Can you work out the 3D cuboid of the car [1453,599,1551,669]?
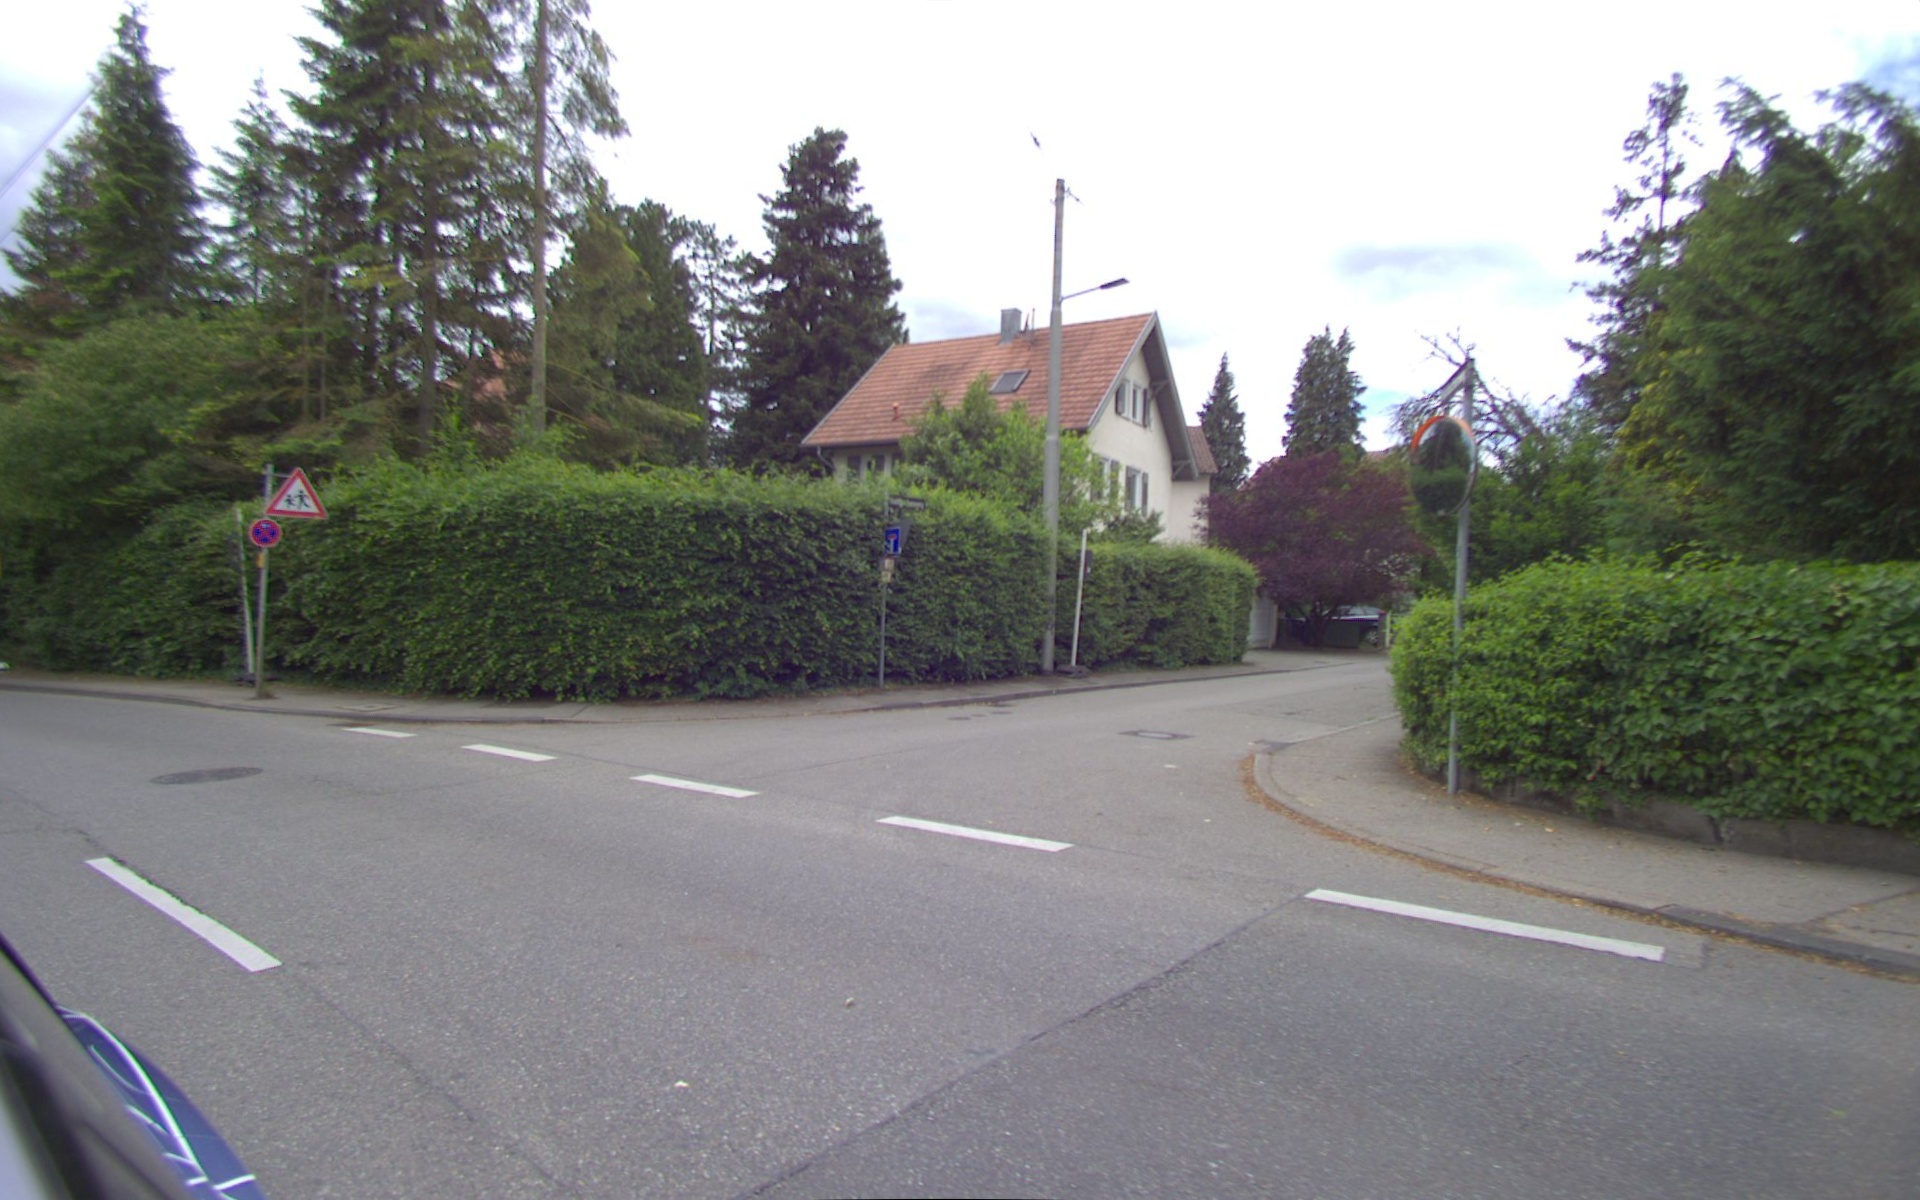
[{"bbox_3d":[16.919,1.021,31.494,1.998,2.029,3.947,0,-1,39],"label":"car"}]

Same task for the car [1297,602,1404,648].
[{"bbox_3d":[17.146,1.089,44.503,3.994,1.907,1.975,-1,-2,38],"label":"car"}]
